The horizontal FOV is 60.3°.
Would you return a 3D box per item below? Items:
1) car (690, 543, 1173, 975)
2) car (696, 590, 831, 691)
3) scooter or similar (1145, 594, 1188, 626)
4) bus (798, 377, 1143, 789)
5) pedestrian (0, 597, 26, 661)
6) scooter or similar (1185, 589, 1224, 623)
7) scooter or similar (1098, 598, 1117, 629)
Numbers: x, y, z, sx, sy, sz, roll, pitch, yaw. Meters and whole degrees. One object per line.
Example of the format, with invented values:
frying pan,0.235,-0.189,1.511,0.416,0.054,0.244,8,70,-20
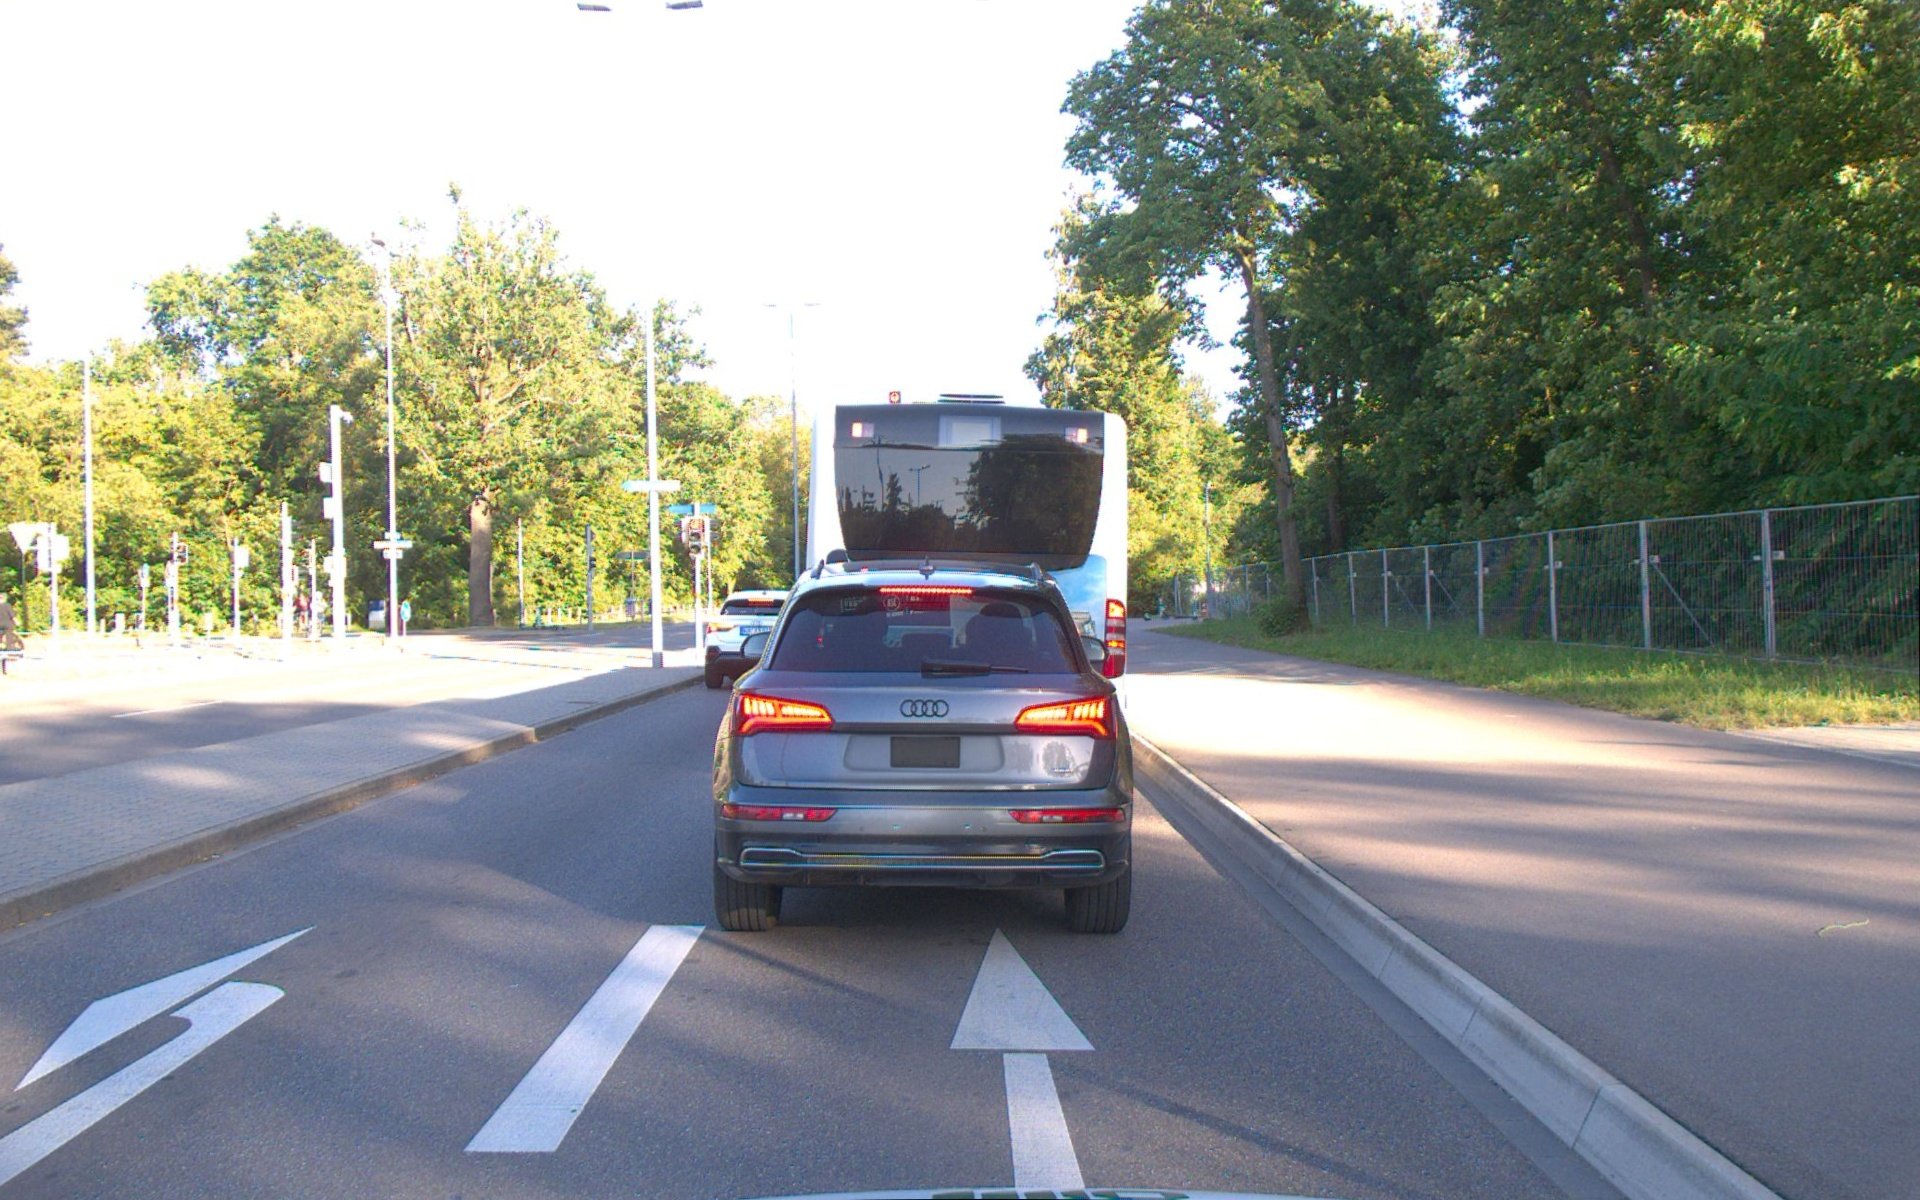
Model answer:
car,-0.136,0.613,8.430,1.860,1.660,3.999,1,0,-1
car,-3.191,0.616,27.531,1.799,1.545,3.999,-1,0,-1
scooter or similar,9.771,0.474,78.177,1.991,1.469,0.601,-2,0,-26
bus,0.016,-0.095,16.934,2.542,3.041,9.324,0,0,-1
pedestrian,-24.131,0.728,41.949,0.643,1.587,0.531,-1,0,-43
scooter or similar,11.739,0.312,79.503,0.535,1.594,1.993,-2,0,-40
scooter or similar,7.191,0.659,80.852,0.498,1.469,2.020,-2,0,-6
